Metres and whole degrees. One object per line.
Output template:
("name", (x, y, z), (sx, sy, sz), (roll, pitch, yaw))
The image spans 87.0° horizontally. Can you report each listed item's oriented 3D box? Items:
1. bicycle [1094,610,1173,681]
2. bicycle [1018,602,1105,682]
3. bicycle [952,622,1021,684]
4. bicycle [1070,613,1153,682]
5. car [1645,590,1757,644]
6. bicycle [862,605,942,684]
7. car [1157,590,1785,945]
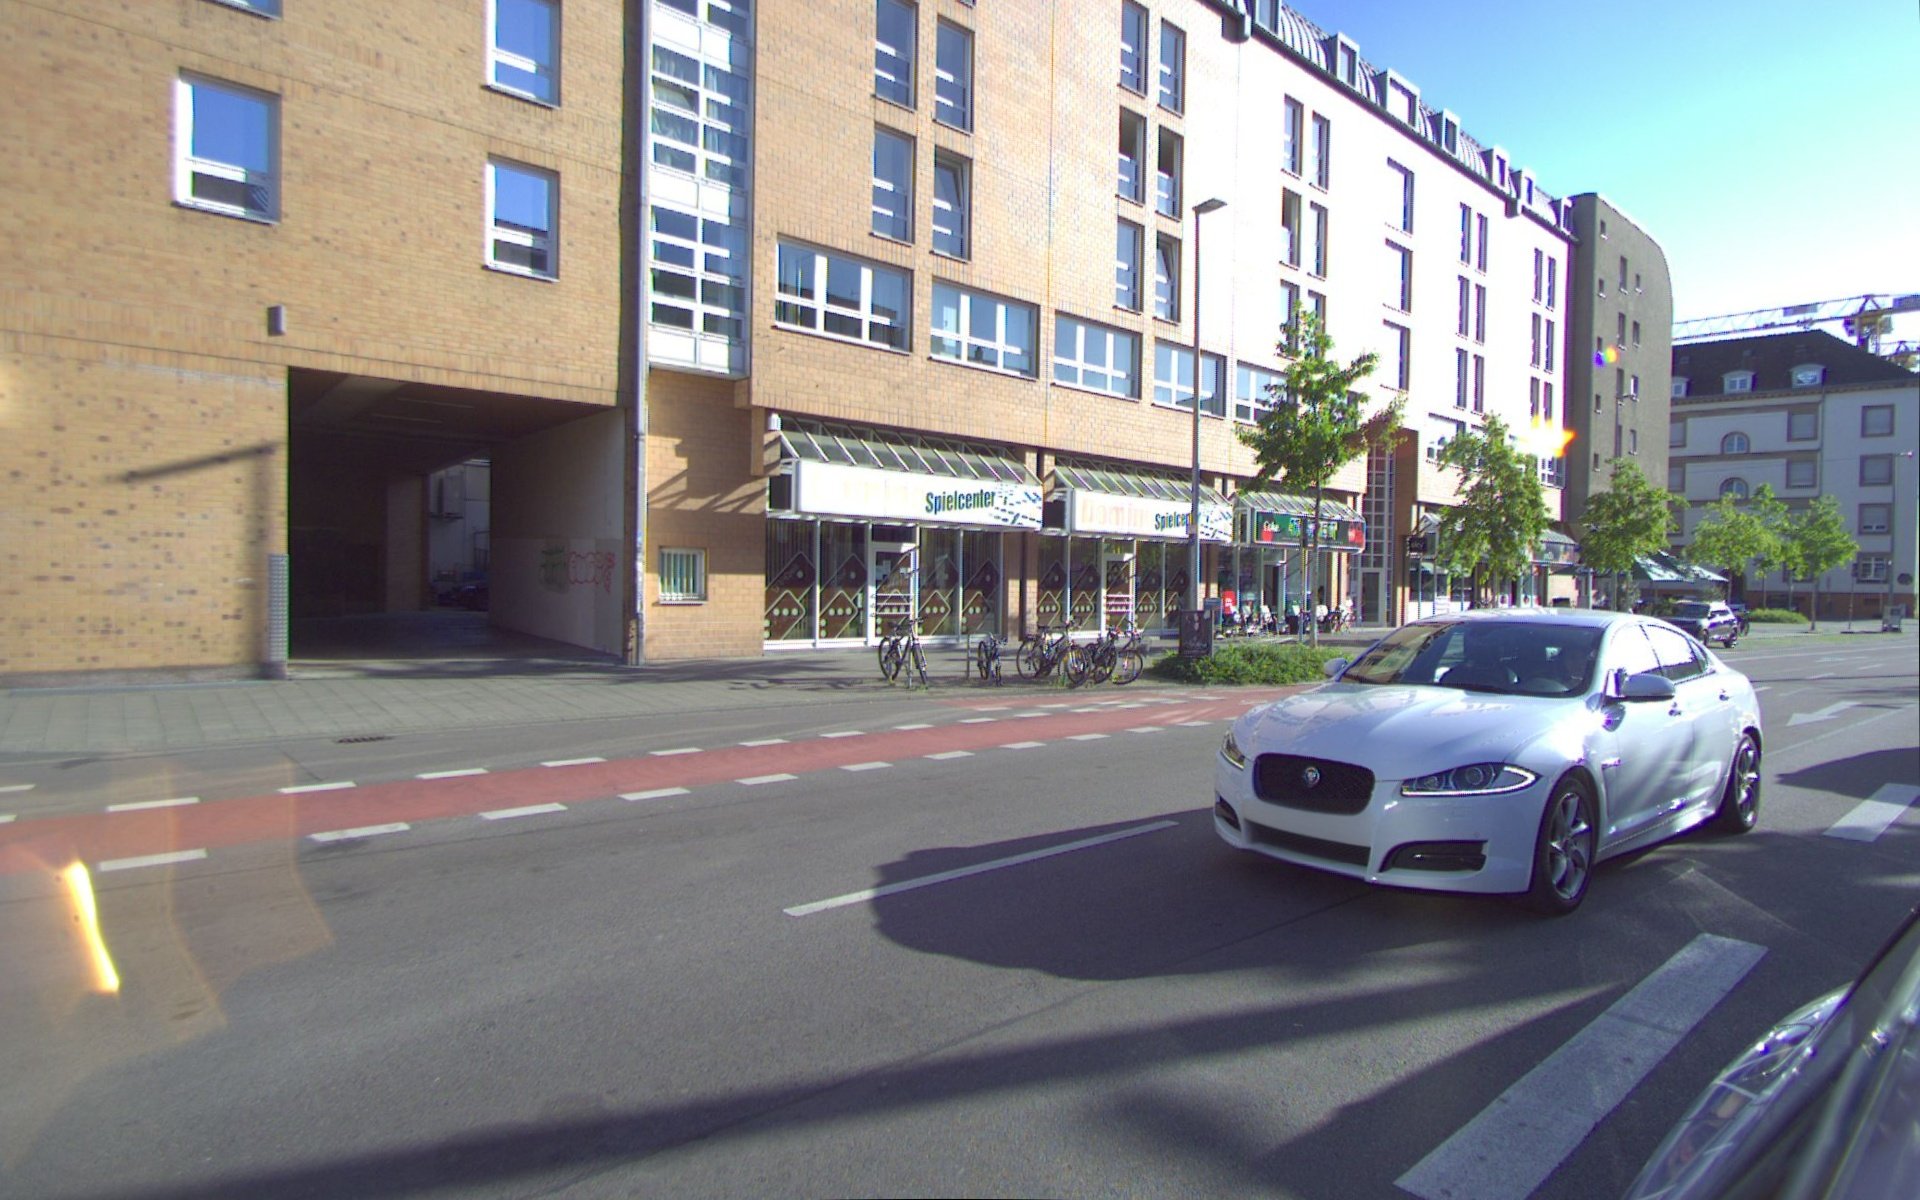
("bicycle", (3.039, 0.775, 17.879), (0.343, 1.069, 1.843), (0, 3, -26))
("bicycle", (1.690, 0.675, 17.204), (0.553, 1.177, 1.843), (0, 3, -26))
("bicycle", (0.416, 0.857, 16.914), (0.359, 0.842, 1.779), (0, 3, -26))
("bicycle", (2.619, 0.799, 17.661), (0.440, 0.997, 1.843), (0, 3, -26))
("car", (25.839, 0.566, 35.279), (3.921, 1.659, 1.782), (0, 3, -33))
("bicycle", (-0.961, 0.686, 16.315), (0.423, 1.089, 1.776), (-1, 4, -35))
("car", (3.368, 0.686, 6.277), (4.372, 1.448, 1.808), (0, 1, -38))
